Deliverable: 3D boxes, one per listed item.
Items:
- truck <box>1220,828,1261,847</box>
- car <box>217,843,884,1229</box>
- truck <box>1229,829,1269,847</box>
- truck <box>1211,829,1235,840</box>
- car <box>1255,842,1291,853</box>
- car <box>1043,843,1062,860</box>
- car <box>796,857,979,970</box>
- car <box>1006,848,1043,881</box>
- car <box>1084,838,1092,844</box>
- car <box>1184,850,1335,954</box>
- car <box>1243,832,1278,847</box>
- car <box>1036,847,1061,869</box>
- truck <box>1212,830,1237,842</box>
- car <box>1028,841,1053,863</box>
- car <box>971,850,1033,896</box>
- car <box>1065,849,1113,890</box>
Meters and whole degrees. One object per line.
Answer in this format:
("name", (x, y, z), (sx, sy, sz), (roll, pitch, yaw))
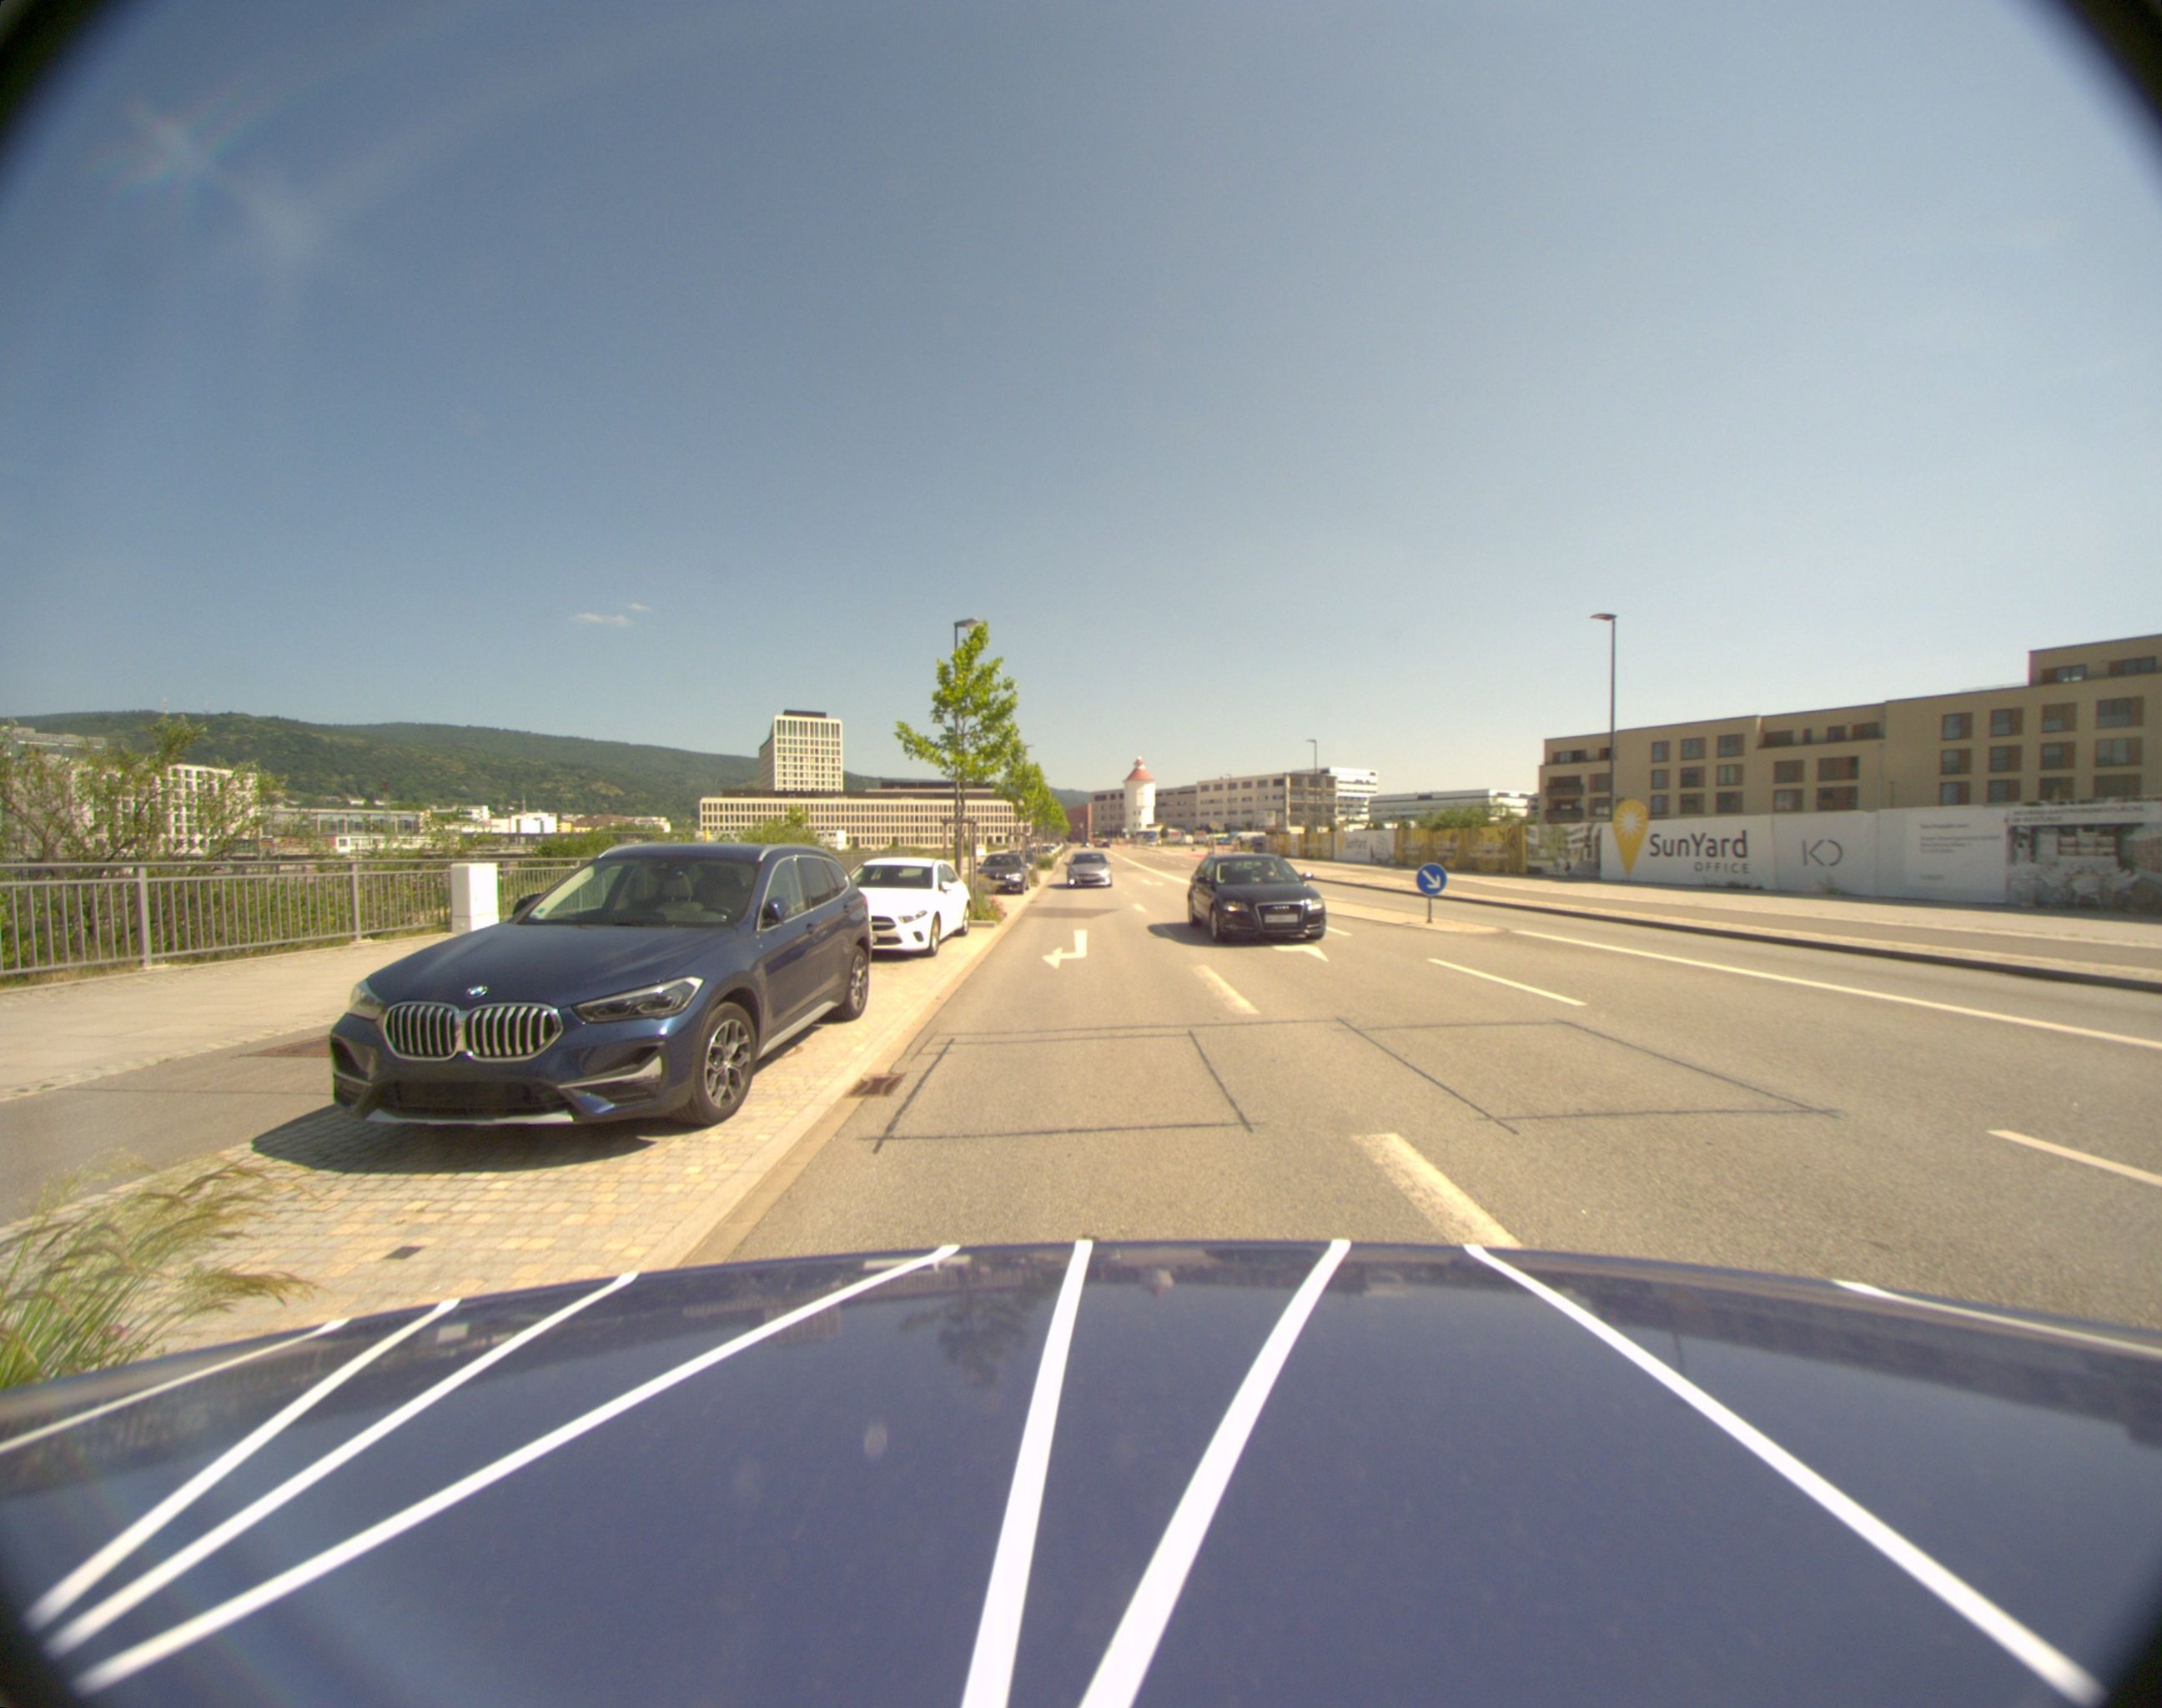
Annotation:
("truck", (23.744, -2.463, 113.307), (5.633, 2.461, 1.999), (-3, 1, -4))
("car", (-2.893, 0.782, 5.498), (1.808, 1.674, 4.270), (1, 1, 0))
("truck", (23.370, -2.259, 105.894), (5.005, 2.215, 1.999), (-2, 1, -1))
("truck", (34.601, -4.699, 185.347), (5.412, 2.461, 1.999), (-2, 1, -2))
("car", (19.686, -0.635, 77.983), (3.359, 0.947, 1.293), (-2, 1, 3))
("car", (-2.644, -0.273, 70.137), (1.526, 1.482, 3.504), (-3, 1, 0))
("car", (-2.906, 0.813, 12.406), (1.710, 1.366, 4.270), (2, 1, 2))
("car", (-2.784, 0.491, 37.874), (1.569, 1.465, 3.006), (2, 1, 0))
("car", (1.669, -3.307, 189.948), (1.819, 1.458, 4.347), (-3, 1, 2))
("car", (2.930, 0.707, 13.298), (1.709, 1.404, 3.999), (-2, 1, 1))
("car", (22.811, -1.868, 96.557), (3.930, 1.708, 1.891), (-3, 1, -5))
("car", (-2.155, 0.233, 50.468), (1.490, 1.302, 3.154), (2, 1, 0))
("truck", (33.387, -4.183, 177.310), (5.333, 2.461, 1.999), (-3, 1, -4))
("car", (-3.226, -0.168, 60.886), (1.768, 1.609, 3.373), (-3, 1, 0))
("car", (-2.796, 0.636, 27.784), (1.808, 1.424, 3.915), (2, 1, 0))
("car", (0.345, 0.584, 31.755), (1.820, 1.459, 4.346), (-2, 1, 1))
